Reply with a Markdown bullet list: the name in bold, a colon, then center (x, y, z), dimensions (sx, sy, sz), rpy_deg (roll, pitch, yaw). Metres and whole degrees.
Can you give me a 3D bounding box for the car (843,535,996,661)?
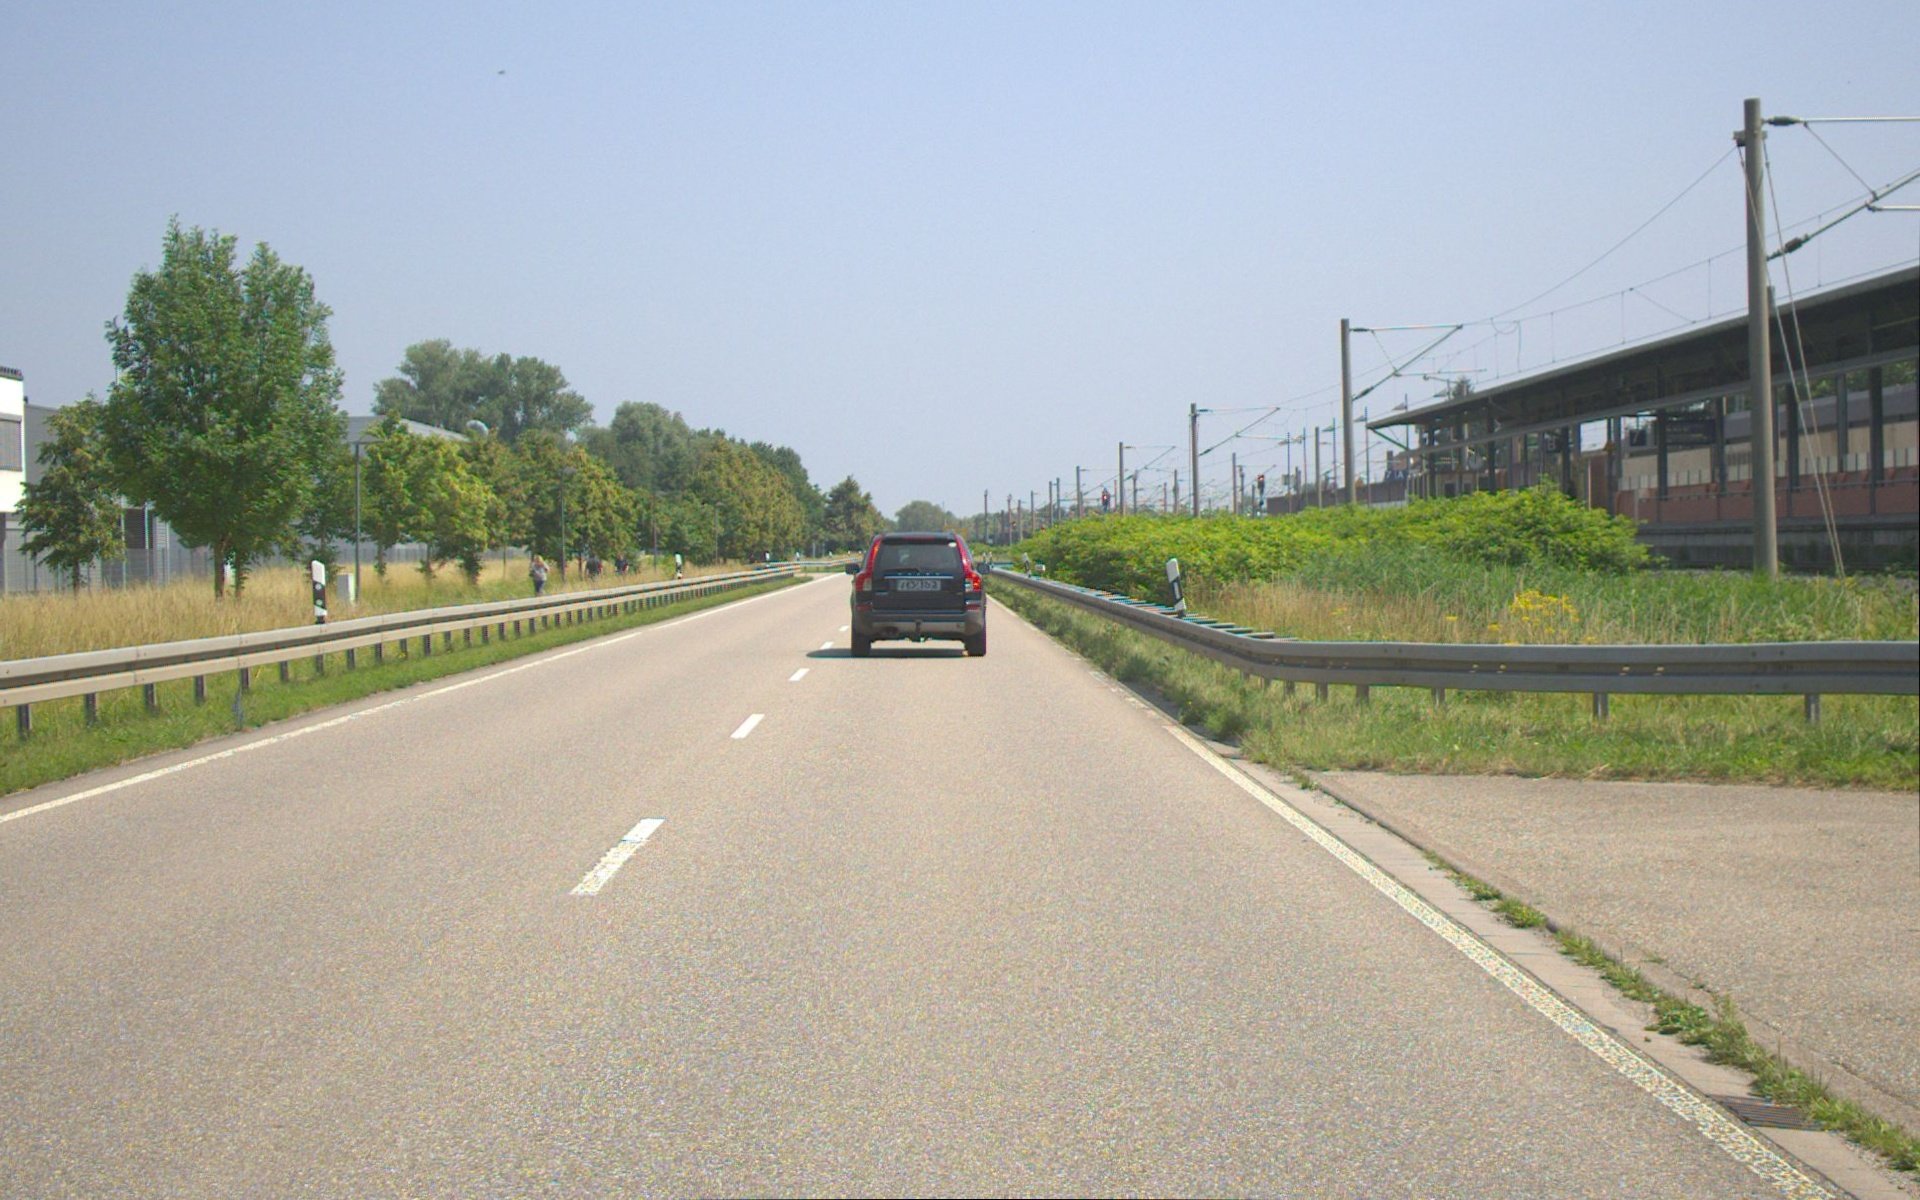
- **car**: center (-0.609, -0.060, 48.495), dimensions (1.993, 1.694, 4.001), rpy_deg (0, 1, -3)
